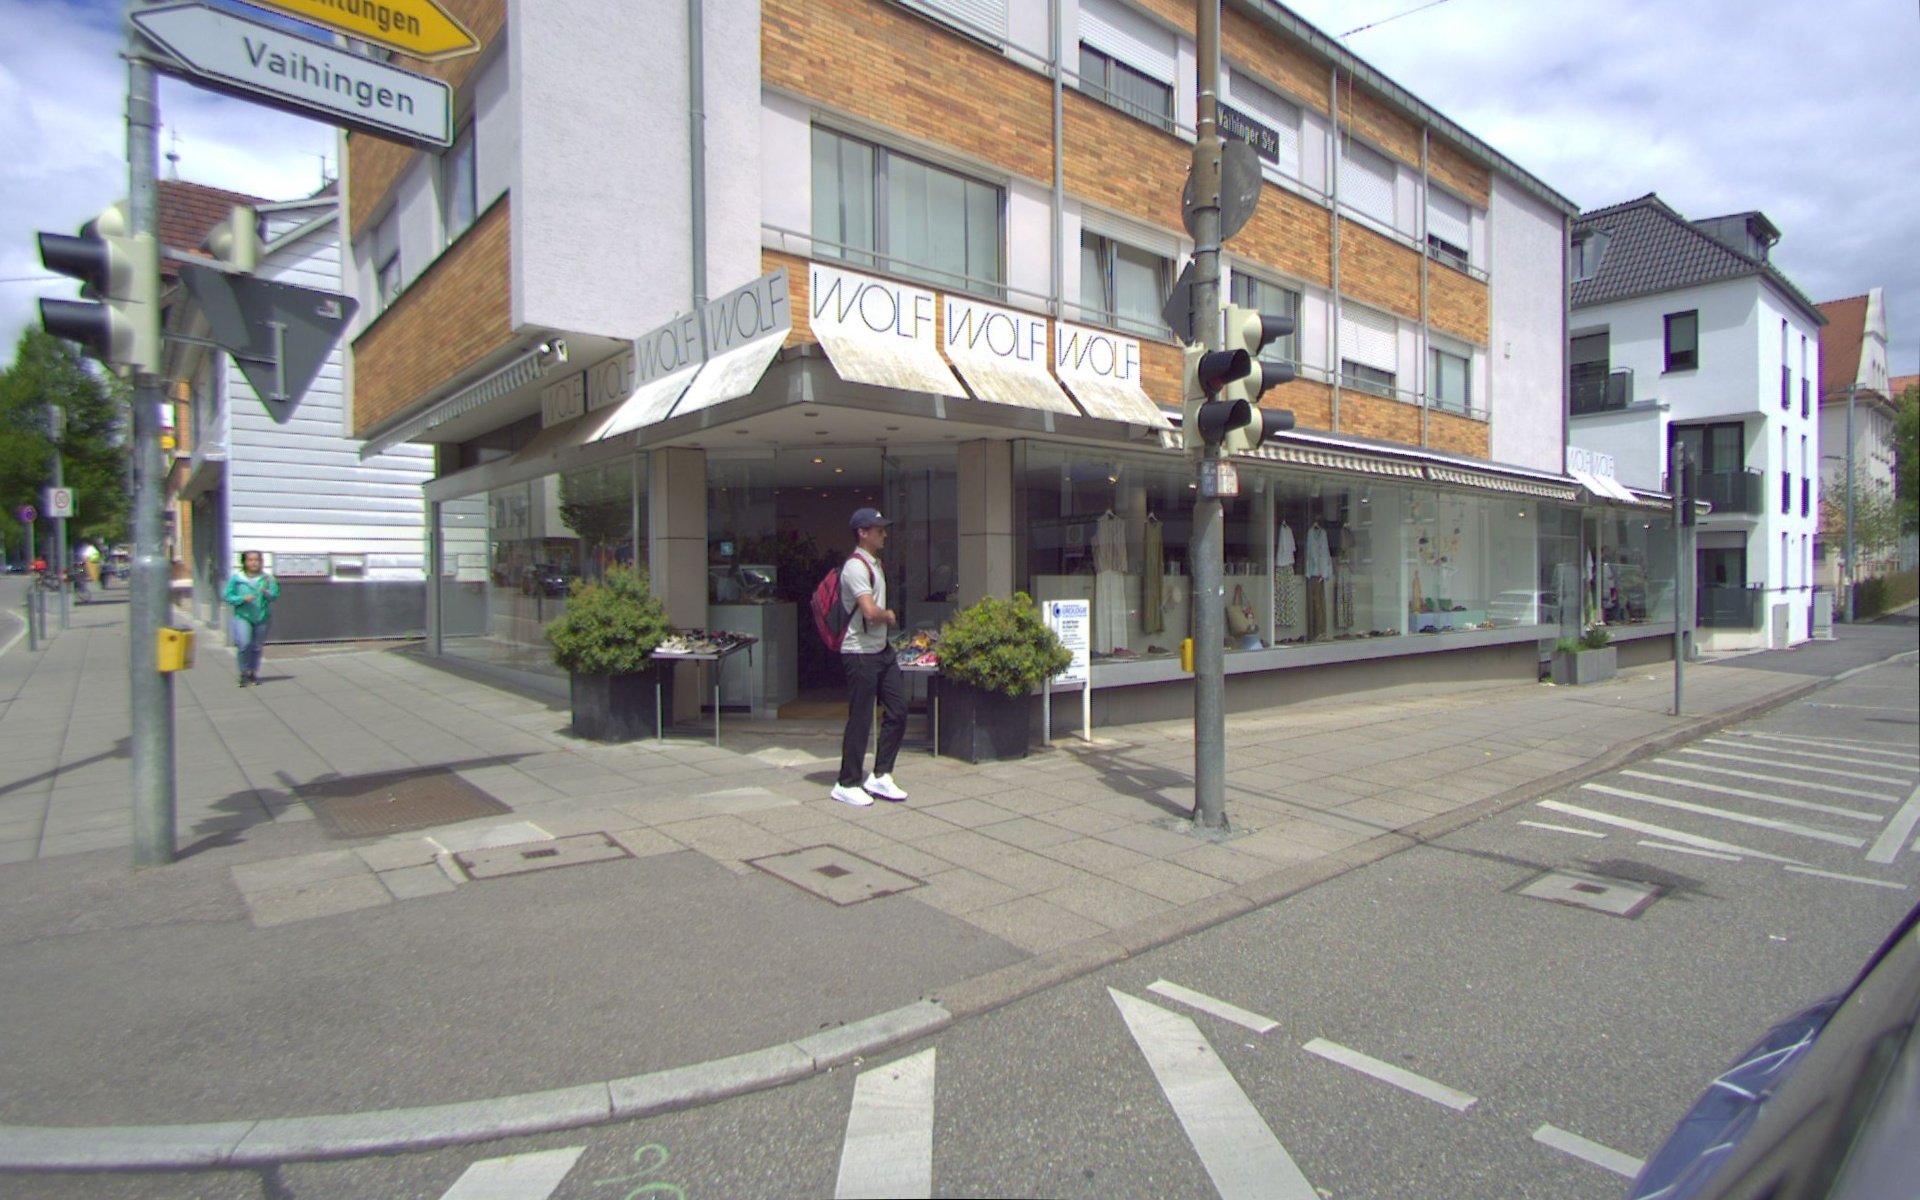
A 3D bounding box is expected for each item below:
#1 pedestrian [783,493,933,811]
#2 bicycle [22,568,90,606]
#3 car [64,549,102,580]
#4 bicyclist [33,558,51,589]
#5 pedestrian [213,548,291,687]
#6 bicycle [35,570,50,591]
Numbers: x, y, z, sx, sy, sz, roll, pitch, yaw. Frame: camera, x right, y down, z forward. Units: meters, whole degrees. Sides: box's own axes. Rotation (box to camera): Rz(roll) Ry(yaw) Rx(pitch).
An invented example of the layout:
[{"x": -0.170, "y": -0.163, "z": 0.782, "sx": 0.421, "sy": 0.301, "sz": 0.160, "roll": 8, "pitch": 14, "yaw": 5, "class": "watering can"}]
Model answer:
[{"x": -0.620, "y": 0.284, "z": 6.348, "sx": 0.605, "sy": 1.836, "sz": 0.772, "roll": 4, "pitch": 3, "yaw": 17, "class": "pedestrian"}, {"x": -31.089, "y": -0.455, "z": 34.830, "sx": 1.689, "sy": 1.235, "sz": 0.560, "roll": -3, "pitch": 1, "yaw": -42, "class": "bicycle"}, {"x": -55.653, "y": -2.247, "z": 64.290, "sx": 1.650, "sy": 1.819, "sz": 3.811, "roll": -3, "pitch": 2, "yaw": -39, "class": "car"}, {"x": -54.464, "y": -1.552, "z": 60.039, "sx": 0.681, "sy": 1.783, "sz": 0.944, "roll": -3, "pitch": 1, "yaw": -40, "class": "bicyclist"}, {"x": -8.287, "y": 0.192, "z": 11.856, "sx": 0.584, "sy": 1.578, "sz": 0.523, "roll": -1, "pitch": 1, "yaw": 33, "class": "pedestrian"}, {"x": -54.285, "y": -1.140, "z": 59.888, "sx": 0.552, "sy": 1.235, "sz": 1.715, "roll": -3, "pitch": 1, "yaw": -40, "class": "bicycle"}]
